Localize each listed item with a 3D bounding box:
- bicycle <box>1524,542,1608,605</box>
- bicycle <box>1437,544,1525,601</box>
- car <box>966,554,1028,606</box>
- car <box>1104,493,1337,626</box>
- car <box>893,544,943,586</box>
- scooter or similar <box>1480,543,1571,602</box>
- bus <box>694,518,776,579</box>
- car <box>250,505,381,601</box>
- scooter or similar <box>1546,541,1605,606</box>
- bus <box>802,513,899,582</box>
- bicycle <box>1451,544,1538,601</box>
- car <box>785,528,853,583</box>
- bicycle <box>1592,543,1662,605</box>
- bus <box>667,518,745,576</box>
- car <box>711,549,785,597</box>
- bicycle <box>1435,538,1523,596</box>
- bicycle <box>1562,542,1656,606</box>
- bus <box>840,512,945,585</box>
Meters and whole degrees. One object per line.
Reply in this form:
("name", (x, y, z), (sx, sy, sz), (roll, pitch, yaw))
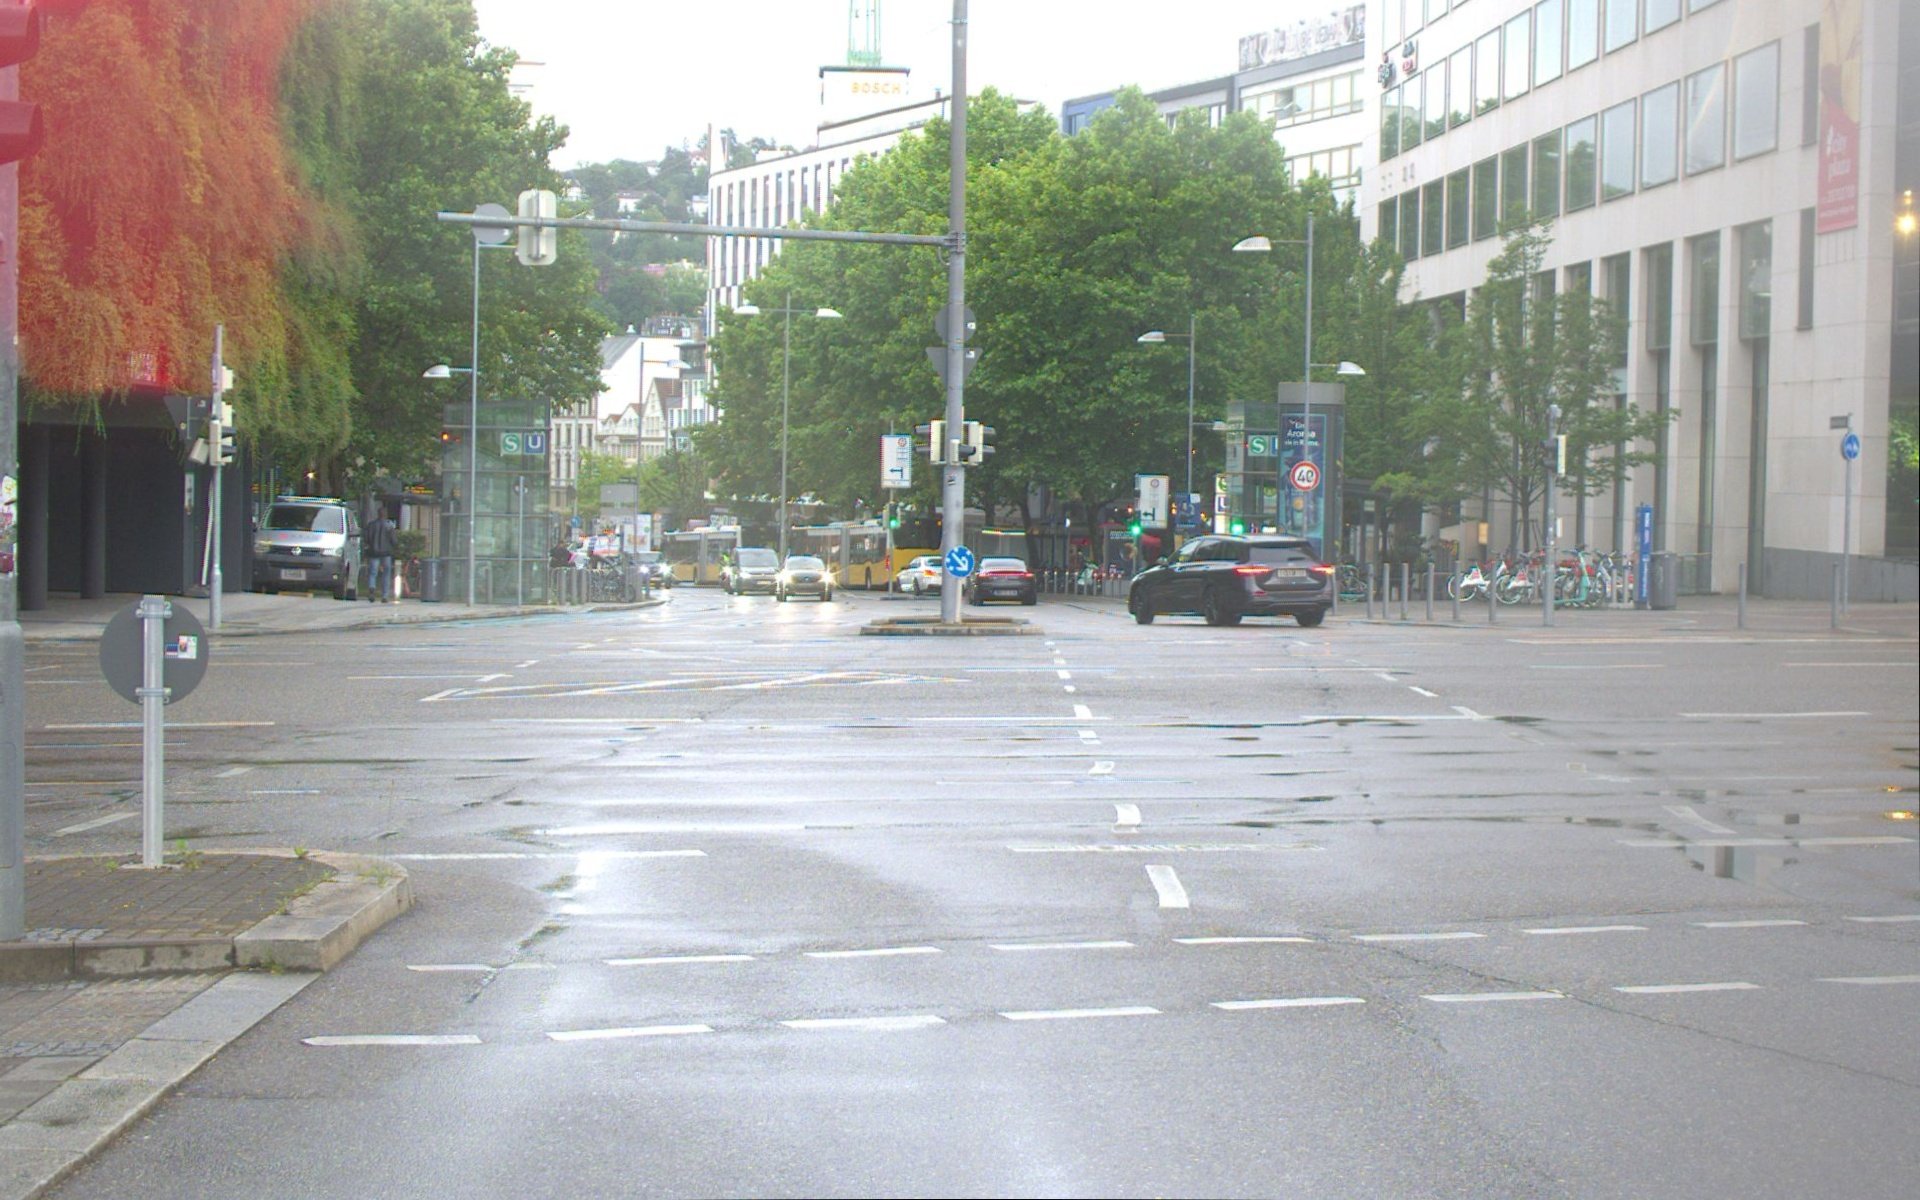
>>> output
("bicycle", (11.694, -0.517, 66.393), (0.584, 1.190, 1.783), (1, 1, -28))
("bicycle", (11.126, -0.594, 73.406), (1.777, 1.190, 0.586), (1, 0, 2))
("car", (1.097, -0.618, 104.461), (1.781, 1.503, 4.000), (1, 1, -1))
("car", (4.058, -0.648, 54.451), (1.543, 2.007, 4.669), (1, 1, -25))
("car", (-1.555, -1.311, 127.544), (1.781, 1.503, 4.000), (1, 1, -1))
("scooter or similar", (11.672, -0.563, 70.980), (1.777, 1.190, 0.586), (1, 0, 2))
("bus", (-11.363, -2.632, 173.228), (2.627, 2.985, 7.330), (0, 1, -16))
("car", (-12.775, -0.931, 68.325), (1.870, 1.833, 4.000), (1, 1, -1))
("scooter or similar", (11.484, -0.498, 64.156), (0.963, 1.190, 0.454), (1, 1, 40))
("bus", (-4.919, -2.345, 153.083), (2.627, 2.985, 7.451), (0, 1, -16))
("bicycle", (11.555, -0.597, 74.323), (1.777, 1.190, 0.586), (1, 0, 2))
("car", (-4.729, -1.477, 114.712), (2.164, 1.759, 5.112), (1, 1, -3))
("bicycle", (12.998, -0.505, 66.950), (0.586, 1.190, 1.779), (1, 1, 38))
("bus", (-13.378, -2.821, 180.324), (2.627, 2.985, 7.451), (0, 1, -16))
("car", (-8.054, -1.029, 130.329), (2.163, 1.759, 4.832), (-1, 1, -11))
("bicycle", (10.980, -0.697, 72.771), (1.777, 1.190, 0.586), (1, 0, 2))
("bicycle", (12.238, -0.494, 64.841), (1.624, 1.190, 0.586), (1, 0, 26))
("bus", (-2.905, -2.207, 145.937), (2.627, 2.985, 7.451), (0, 1, -16))
